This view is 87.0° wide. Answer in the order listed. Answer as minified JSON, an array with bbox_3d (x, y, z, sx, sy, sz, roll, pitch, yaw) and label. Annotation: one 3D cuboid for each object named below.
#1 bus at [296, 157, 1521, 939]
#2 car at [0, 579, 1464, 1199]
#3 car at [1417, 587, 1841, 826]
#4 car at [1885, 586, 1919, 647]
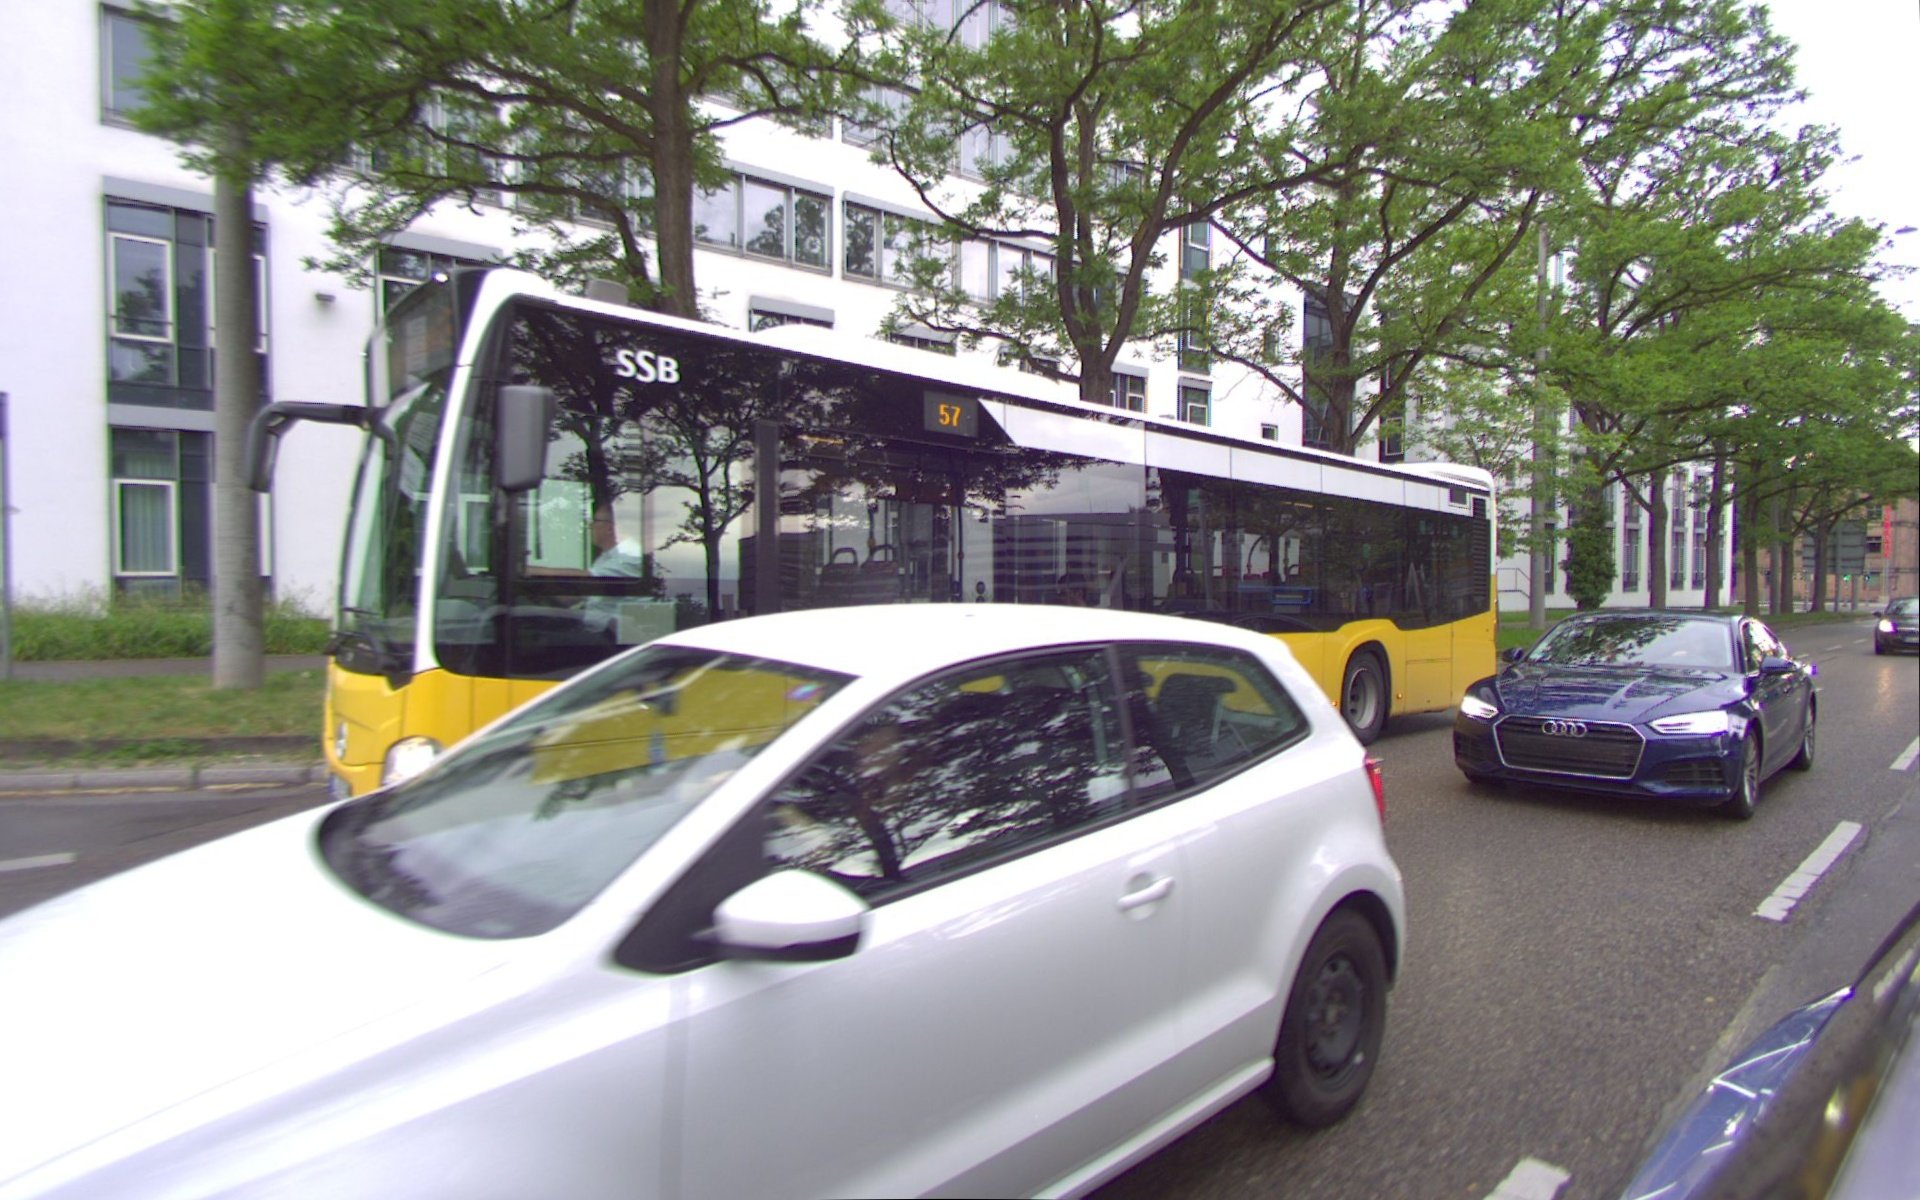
[{"bbox_3d":[1.296,-0.221,9.115,11.934,3.192,2.731,0,-1,-41],"label":"bus"},{"bbox_3d":[-0.413,0.702,2.618,3.745,1.450,1.744,-1,0,-41],"label":"car"},{"bbox_3d":[5.544,0.621,8.156,4.259,1.371,1.875,-1,0,-43],"label":"car"},{"bbox_3d":[24.587,0.380,25.288,3.487,1.452,1.625,-1,0,-39],"label":"car"}]
